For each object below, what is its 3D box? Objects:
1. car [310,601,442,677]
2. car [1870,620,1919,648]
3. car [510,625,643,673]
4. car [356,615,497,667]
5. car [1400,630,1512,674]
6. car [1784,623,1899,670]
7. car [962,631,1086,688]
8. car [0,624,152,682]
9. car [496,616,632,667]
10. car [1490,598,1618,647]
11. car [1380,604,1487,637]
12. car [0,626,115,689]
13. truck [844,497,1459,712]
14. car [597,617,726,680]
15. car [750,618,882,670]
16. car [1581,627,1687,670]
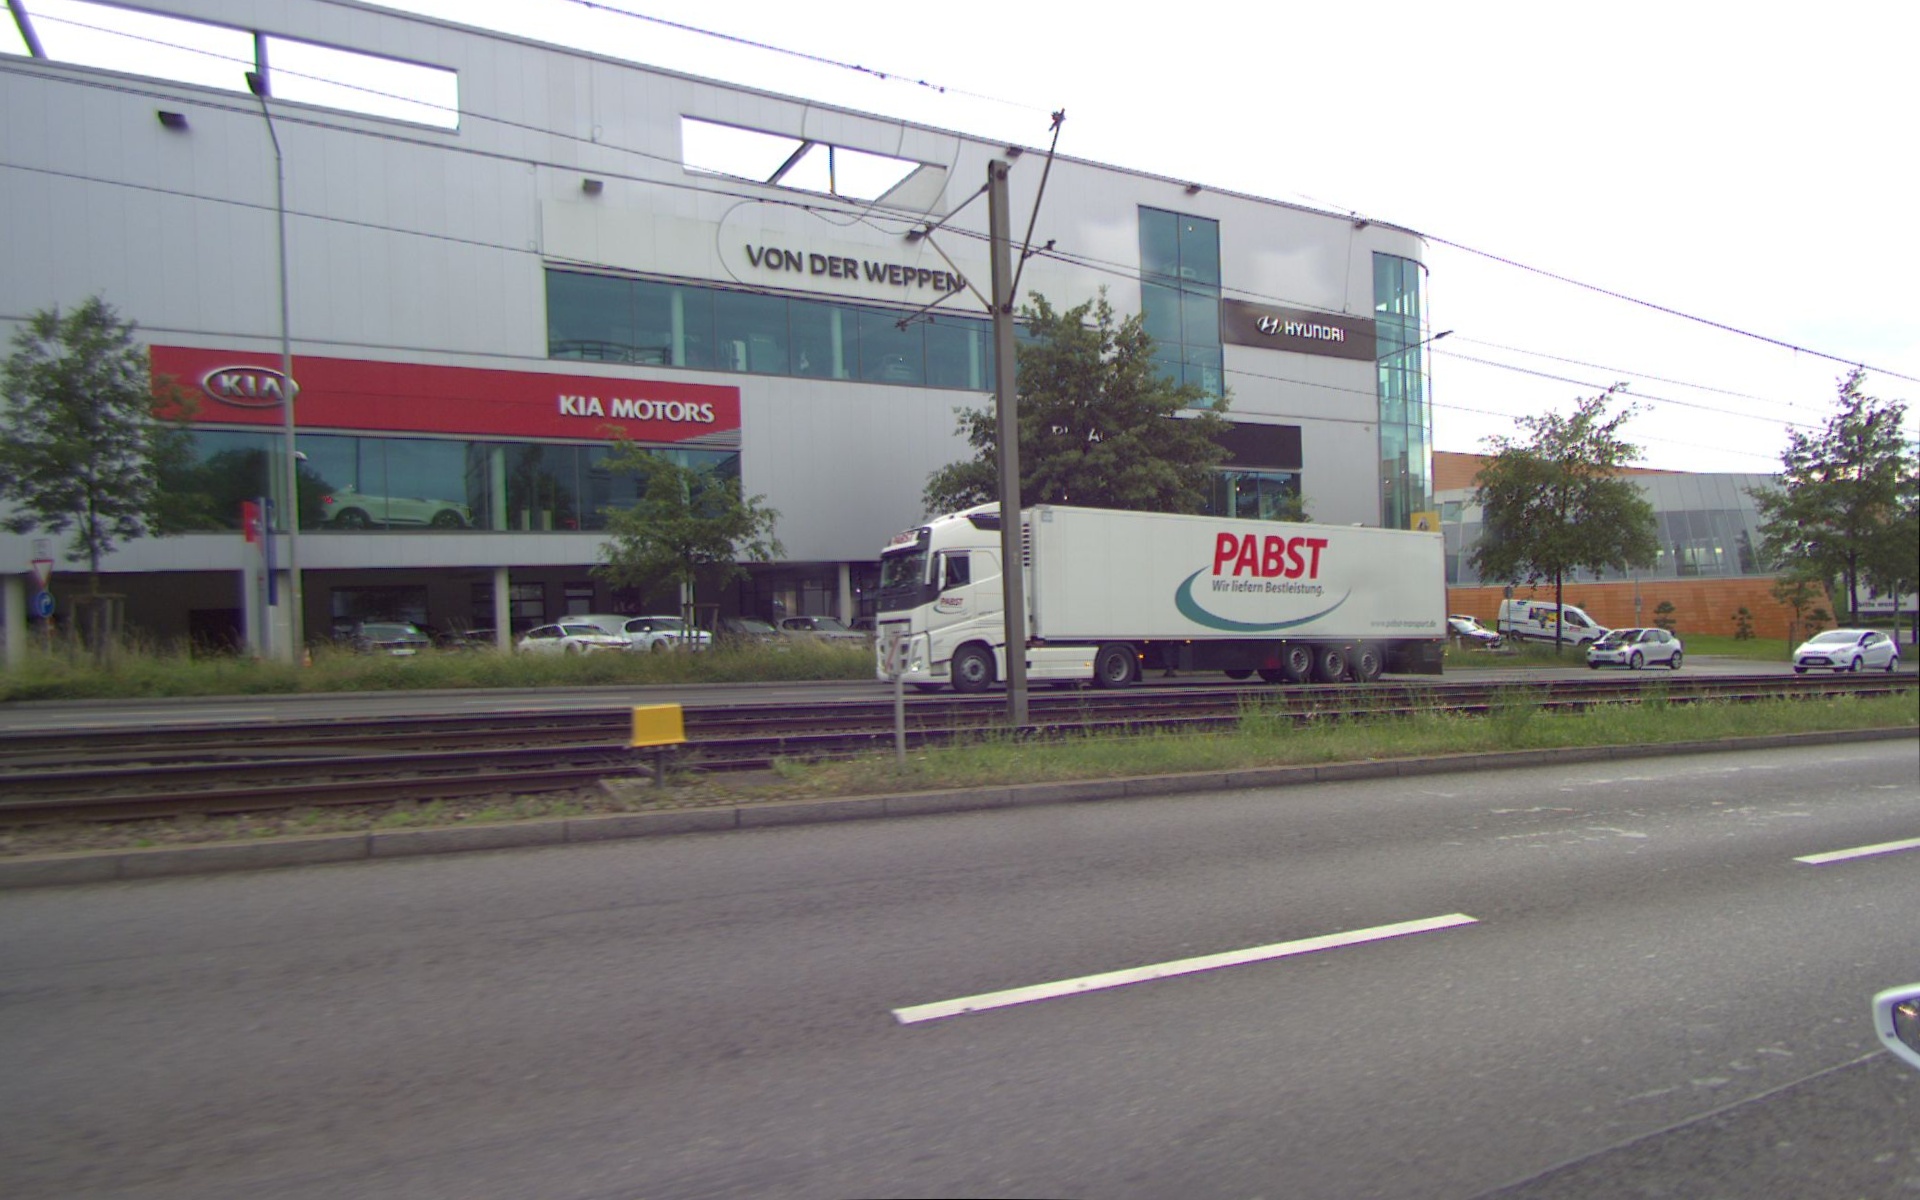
[{"bbox_3d":[-16.516,1.051,28.309,4.904,1.958,2.007,-1,-2,45],"label":"car"},{"bbox_3d":[66.180,2.379,69.562,2.072,1.834,4.304,0,1,-28],"label":"car"},{"bbox_3d":[-11.806,1.453,30.806,4.267,1.325,1.865,-1,-1,38],"label":"car"},{"bbox_3d":[-21.307,1.585,40.162,4.884,1.936,1.983,0,0,-32],"label":"car"},{"bbox_3d":[24.184,2.490,49.161,1.997,2.002,4.577,1,-1,-32],"label":"car"},{"bbox_3d":[29.522,1.536,33.624,3.848,1.461,1.656,1,0,-28],"label":"car"},{"bbox_3d":[2.374,2.202,38.268,4.554,2.002,2.008,-1,-2,45],"label":"car"},{"bbox_3d":[-30.477,1.741,33.800,4.884,1.816,1.983,0,0,-32],"label":"car"},{"bbox_3d":[-14.085,1.429,35.668,4.553,1.686,2.017,0,-1,28],"label":"car"},{"bbox_3d":[32.266,1.167,54.704,2.252,2.464,5.583,1,0,-44],"label":"car"},{"bbox_3d":[27.862,1.183,59.231,2.252,1.808,5.270,1,0,-44],"label":"car"},{"bbox_3d":[-28.239,1.685,29.542,4.881,1.748,1.984,0,0,-30],"label":"car"},{"bbox_3d":[5.583,0.082,25.129,16.982,4.237,3.030,0,0,-28],"label":"truck"},{"bbox_3d":[-9.561,1.490,31.995,4.575,1.851,2.008,-1,-2,45],"label":"car"},{"bbox_3d":[-5.120,1.494,35.167,4.951,1.675,2.007,-1,-2,45],"label":"car"},{"bbox_3d":[26.271,1.880,39.151,3.843,1.564,1.658,1,0,-25],"label":"car"}]
